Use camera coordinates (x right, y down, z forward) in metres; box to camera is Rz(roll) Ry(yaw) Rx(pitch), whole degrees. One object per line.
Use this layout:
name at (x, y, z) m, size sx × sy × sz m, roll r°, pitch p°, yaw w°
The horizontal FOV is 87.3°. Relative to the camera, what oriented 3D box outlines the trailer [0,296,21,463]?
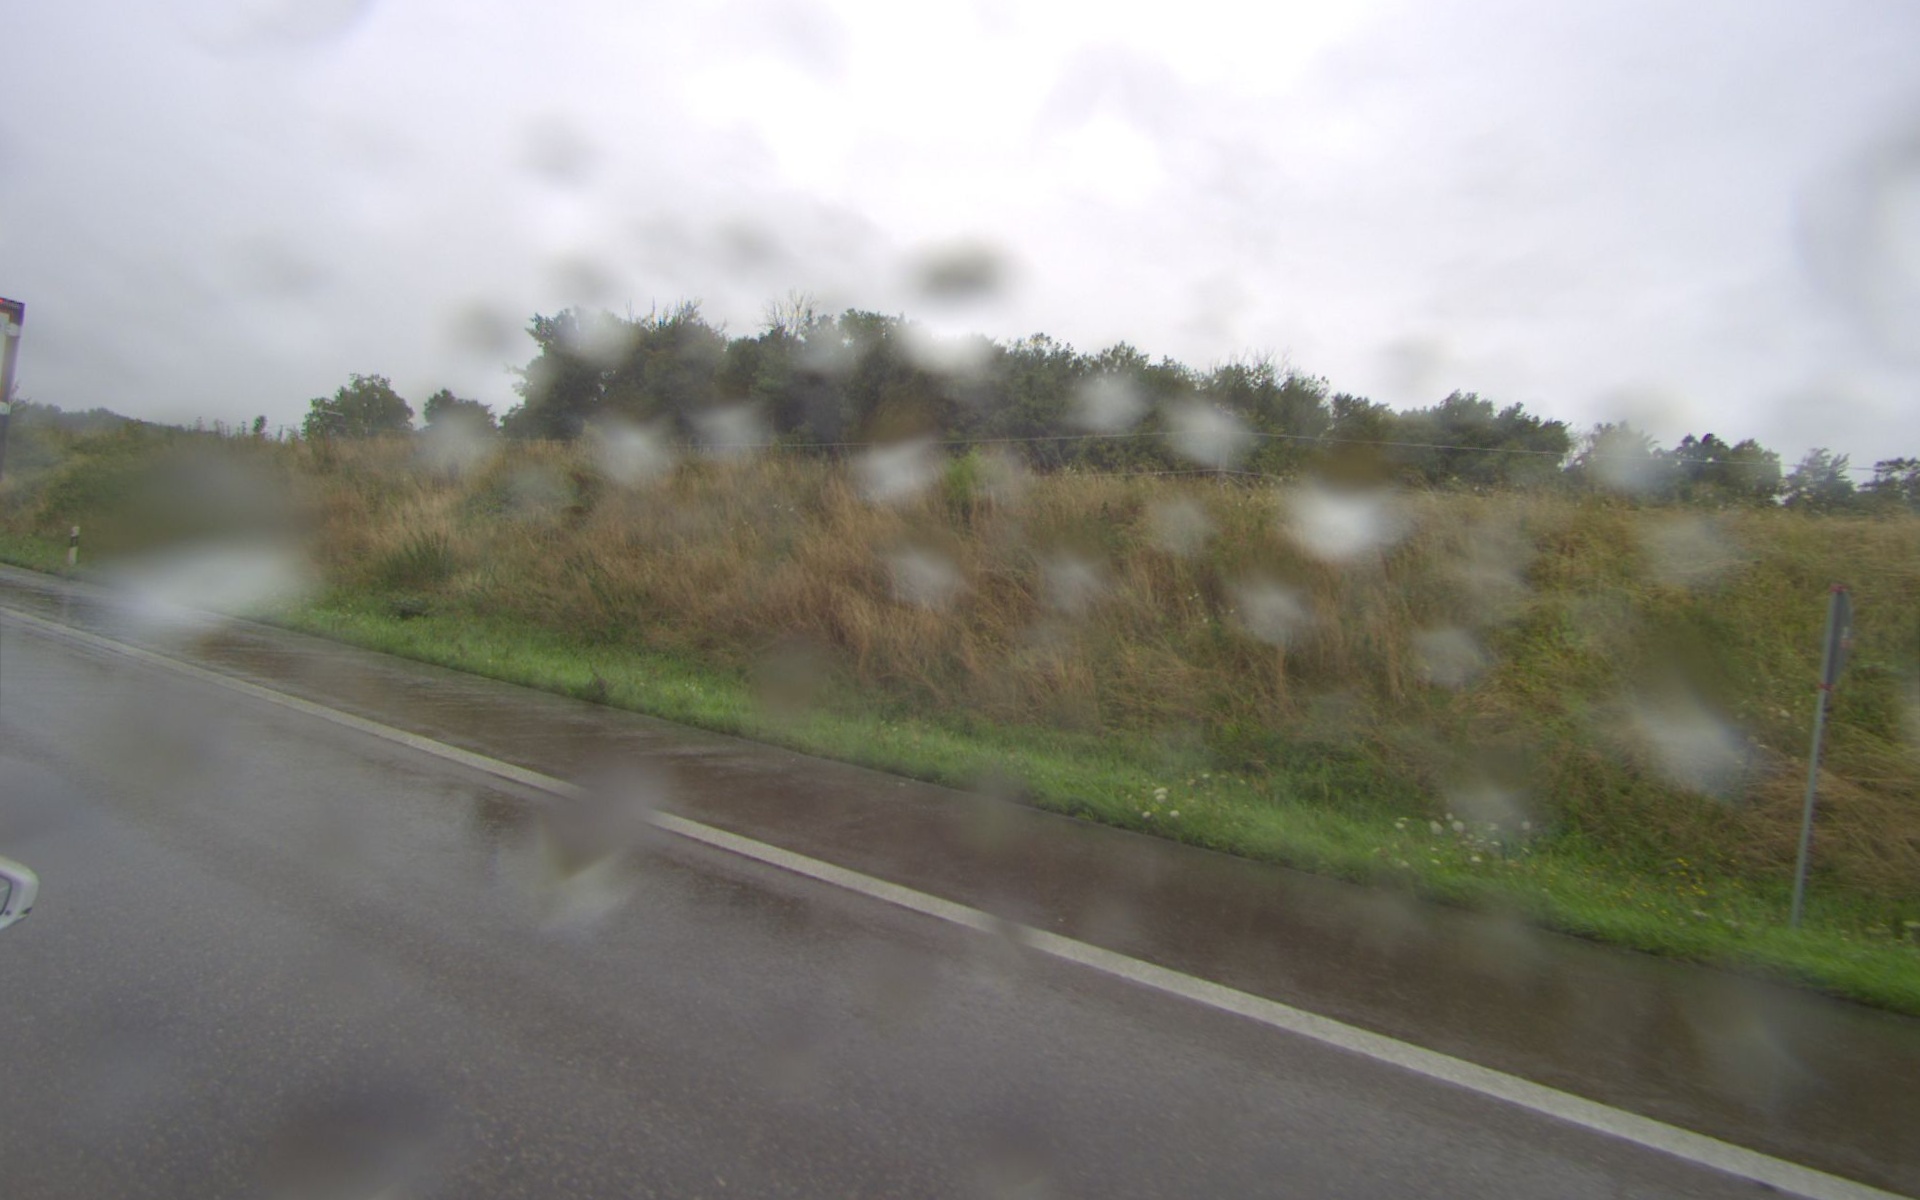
trailer at (-19.571, -2.822, 16.134) m, size 14.386 × 4.060 × 2.635 m, roll 7°, pitch -1°, yaw 32°
